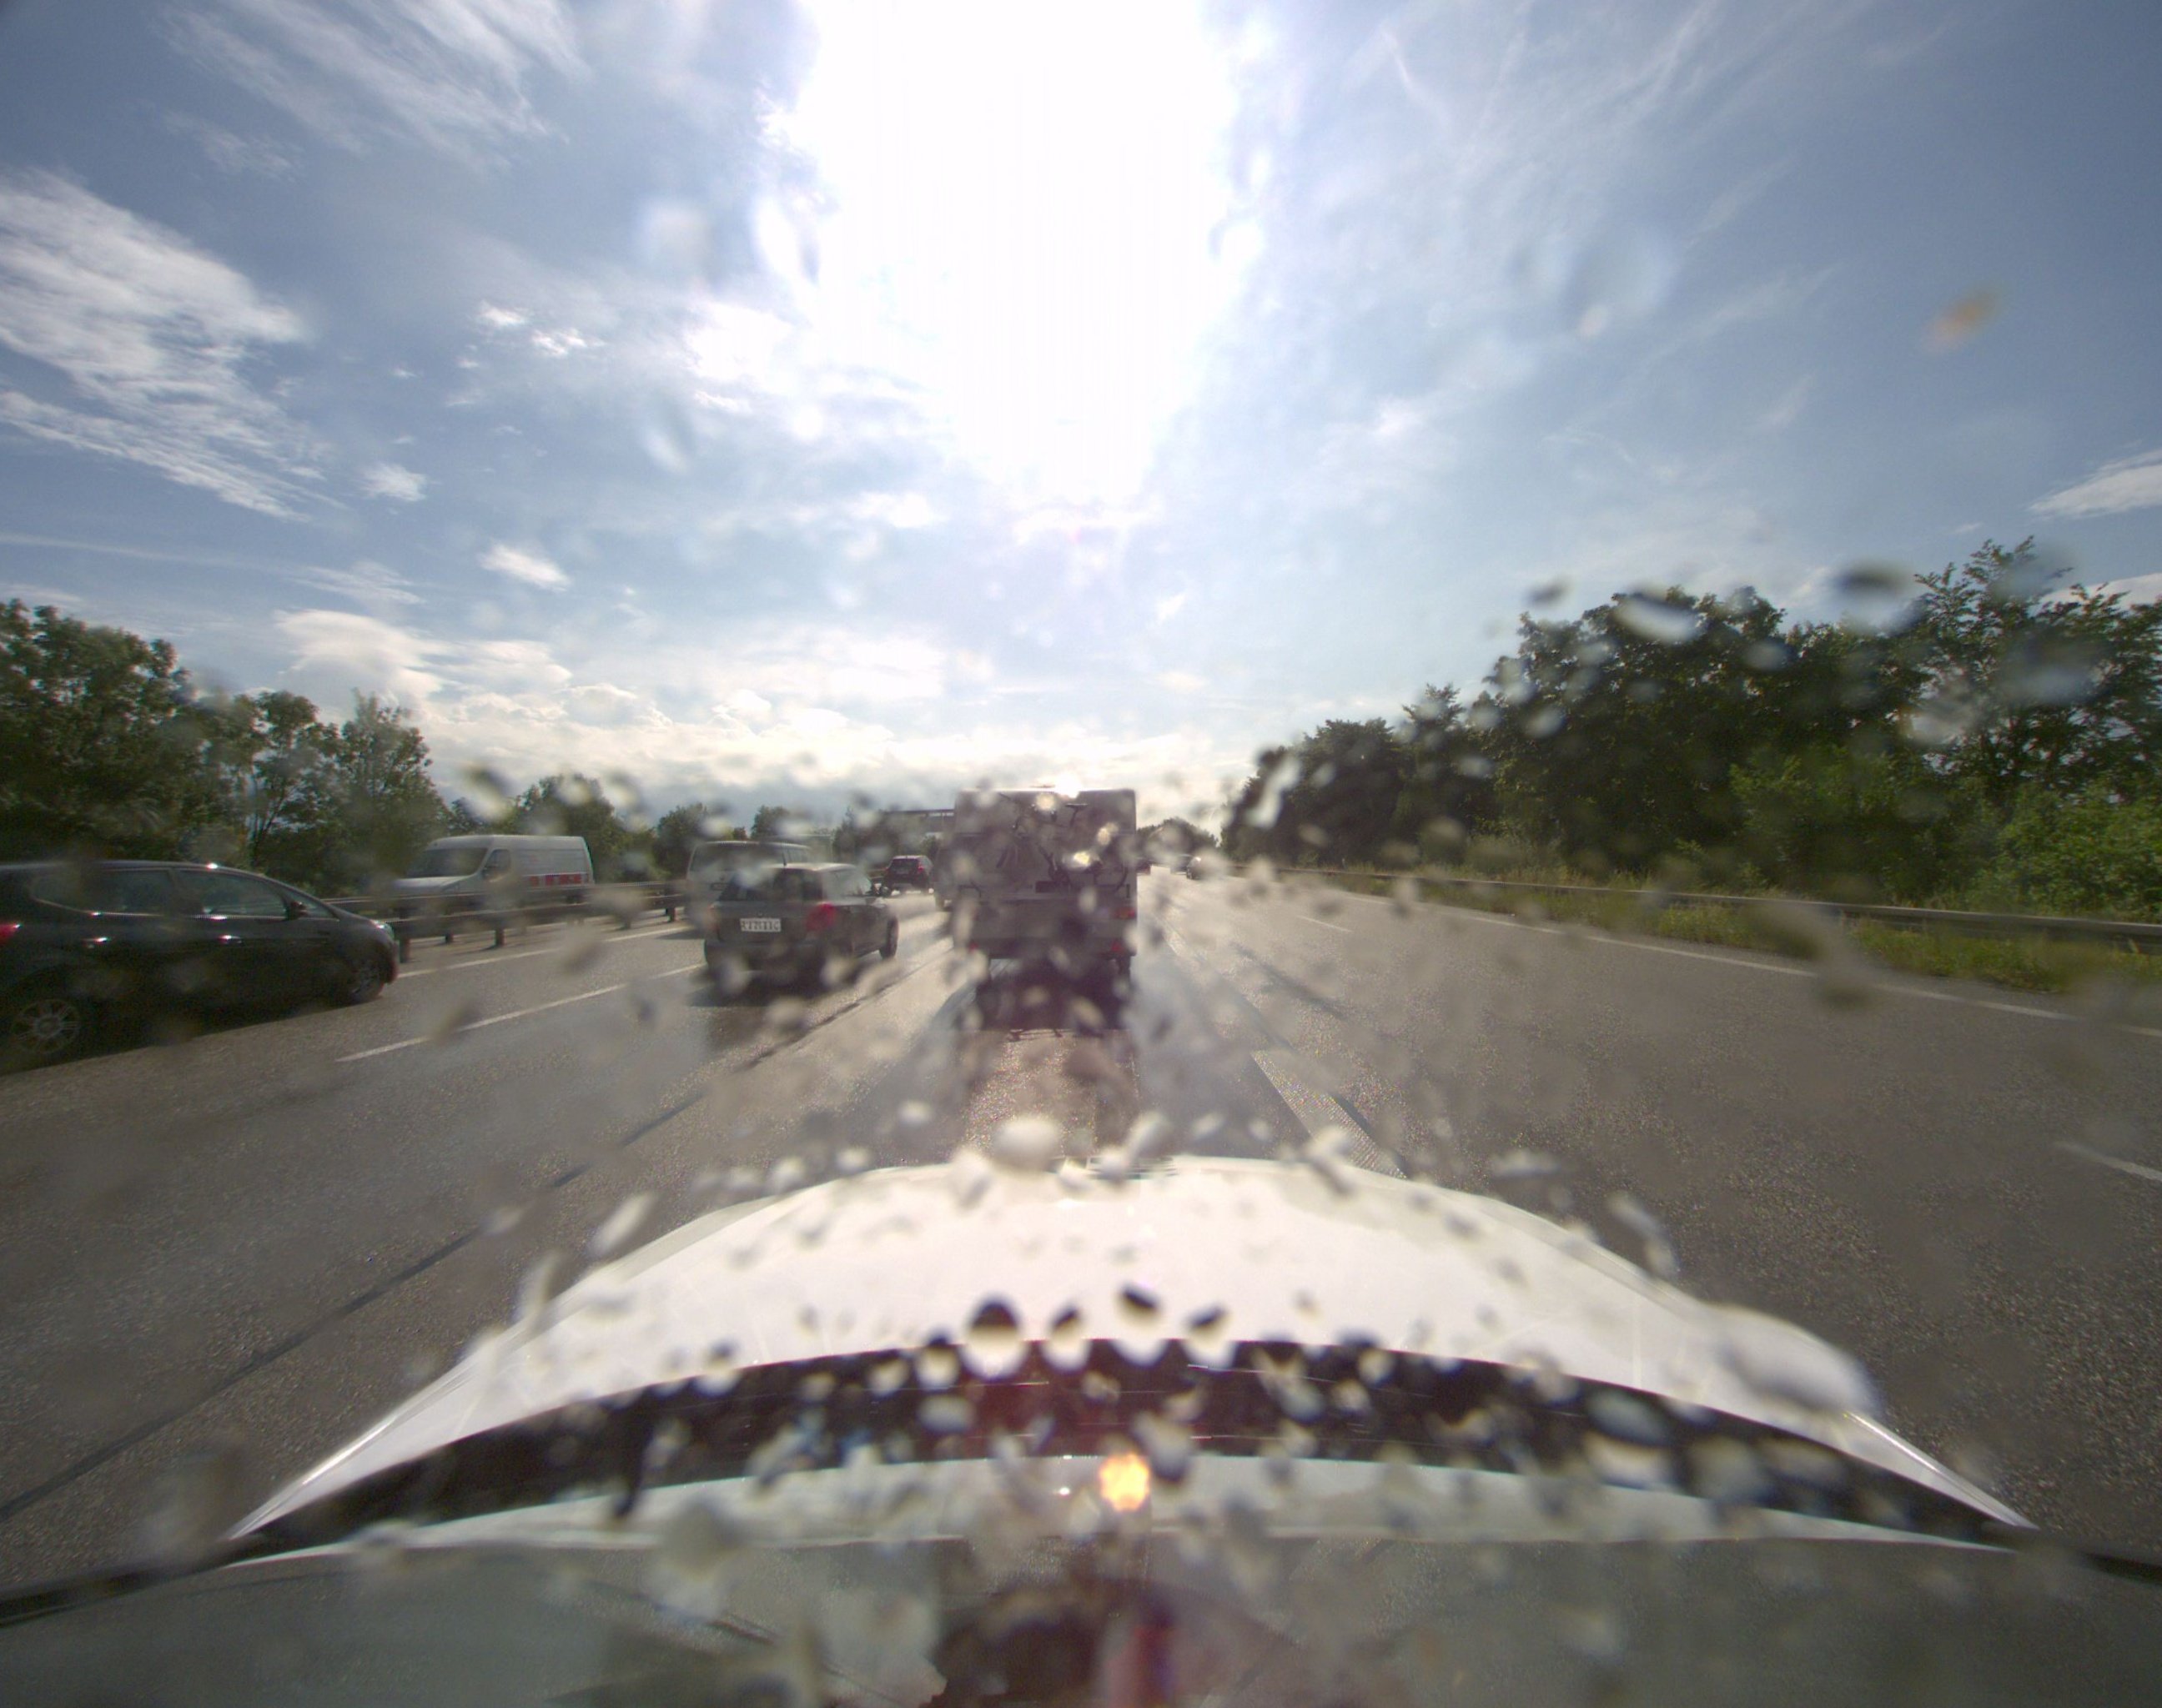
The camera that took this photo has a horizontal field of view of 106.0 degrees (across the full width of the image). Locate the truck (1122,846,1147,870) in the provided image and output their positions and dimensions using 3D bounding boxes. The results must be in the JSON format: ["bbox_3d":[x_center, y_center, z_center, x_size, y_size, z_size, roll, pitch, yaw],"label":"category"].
[{"bbox_3d":[5.502,0.423,84.984,2.406,2.444,6.056,-1,0,2],"label":"truck"}]

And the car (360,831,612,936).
[{"bbox_3d":[-15.386,0.686,21.707,2.106,2.396,6.105,-1,0,1],"label":"car"}]

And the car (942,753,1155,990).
[{"bbox_3d":[-0.293,0.217,11.238,2.401,2.674,4.002,0,-1,2],"label":"car"}]

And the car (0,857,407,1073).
[{"bbox_3d":[-8.775,0.830,7.520,1.777,1.578,3.916,-1,0,1],"label":"car"}]

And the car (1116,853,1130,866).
[{"bbox_3d":[5.307,0.703,104.211,1.713,1.684,4.002,-1,0,2],"label":"car"}]

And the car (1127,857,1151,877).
[{"bbox_3d":[4.811,1.081,67.786,1.828,1.558,4.002,0,-1,2],"label":"car"}]

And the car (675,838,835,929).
[{"bbox_3d":[-7.764,0.644,20.024,1.841,1.934,5.016,-1,0,1],"label":"car"}]

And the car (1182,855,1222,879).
[{"bbox_3d":[7.845,0.834,53.336,1.872,1.494,3.996,0,-1,-3],"label":"car"}]

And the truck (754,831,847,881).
[{"bbox_3d":[-18.243,0.177,53.612,2.905,2.987,8.724,0,-1,1],"label":"truck"}]

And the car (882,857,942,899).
[{"bbox_3d":[-7.098,0.980,34.588,1.767,1.662,3.998,0,-1,-1],"label":"car"}]

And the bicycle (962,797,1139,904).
[{"bbox_3d":[-0.326,-0.037,9.046,1.926,1.141,0.384,0,-1,1],"label":"bicycle"}]

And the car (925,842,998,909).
[{"bbox_3d":[-3.830,0.668,26.748,1.871,2.014,3.998,0,-1,-1],"label":"car"}]

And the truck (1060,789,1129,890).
[{"bbox_3d":[0.693,-0.633,43.107,3.135,4.626,10.735,-1,0,0],"label":"truck"}]

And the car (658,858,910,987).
[{"bbox_3d":[-3.846,0.810,11.352,1.980,1.458,3.828,-1,0,2],"label":"car"}]

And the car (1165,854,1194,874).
[{"bbox_3d":[8.383,0.838,69.630,1.872,1.629,3.996,0,-1,-3],"label":"car"}]
